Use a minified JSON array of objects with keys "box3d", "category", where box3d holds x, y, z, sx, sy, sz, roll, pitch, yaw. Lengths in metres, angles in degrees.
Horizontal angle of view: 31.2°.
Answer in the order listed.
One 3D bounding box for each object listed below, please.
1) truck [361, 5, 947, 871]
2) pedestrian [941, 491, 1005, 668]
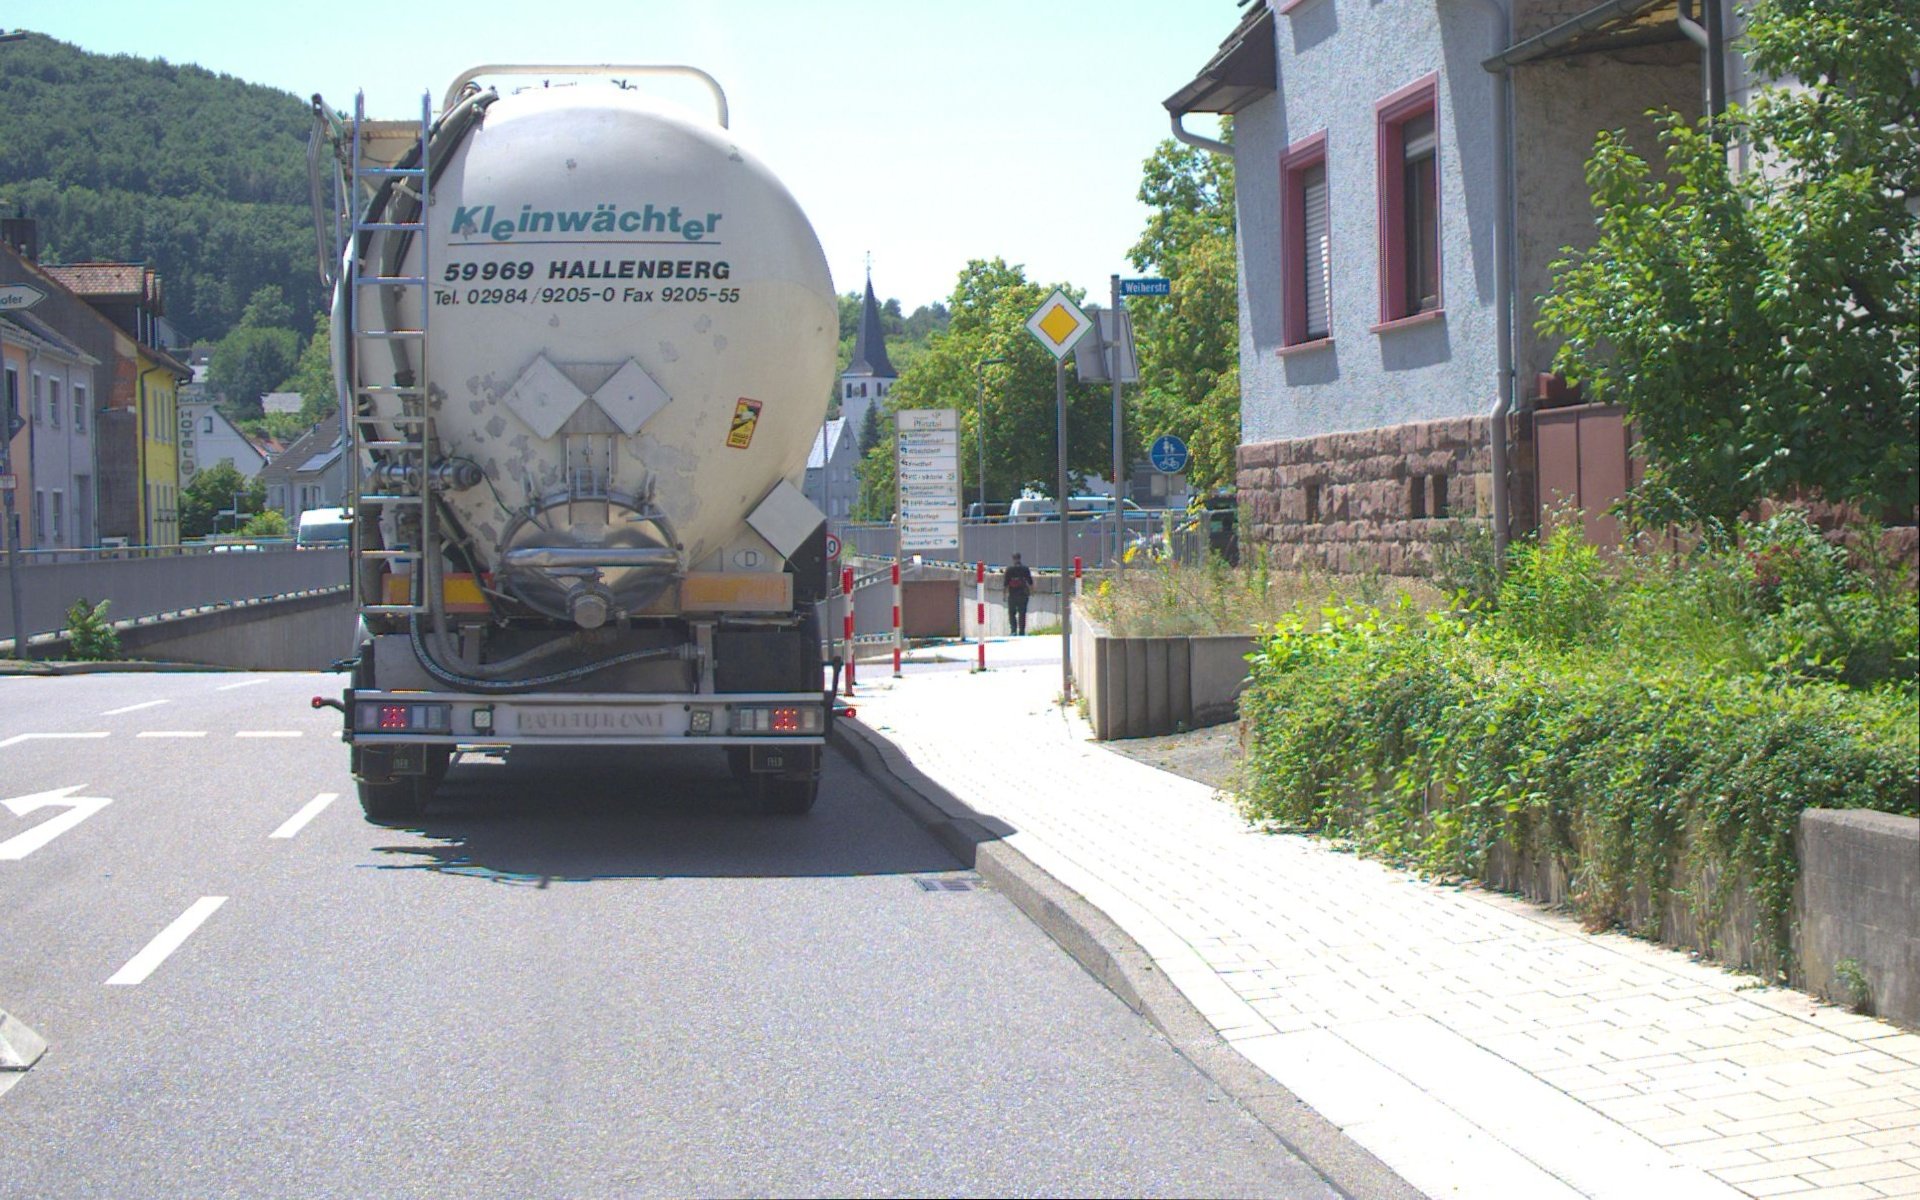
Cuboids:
[{"box3d":[-2.145,-0.860,21.622,2.749,4.043,10.892,0,1,-8],"category":"truck"},{"box3d":[0.122,-0.196,33.370,0.571,1.688,0.721,1,0,-3],"category":"pedestrian"}]
